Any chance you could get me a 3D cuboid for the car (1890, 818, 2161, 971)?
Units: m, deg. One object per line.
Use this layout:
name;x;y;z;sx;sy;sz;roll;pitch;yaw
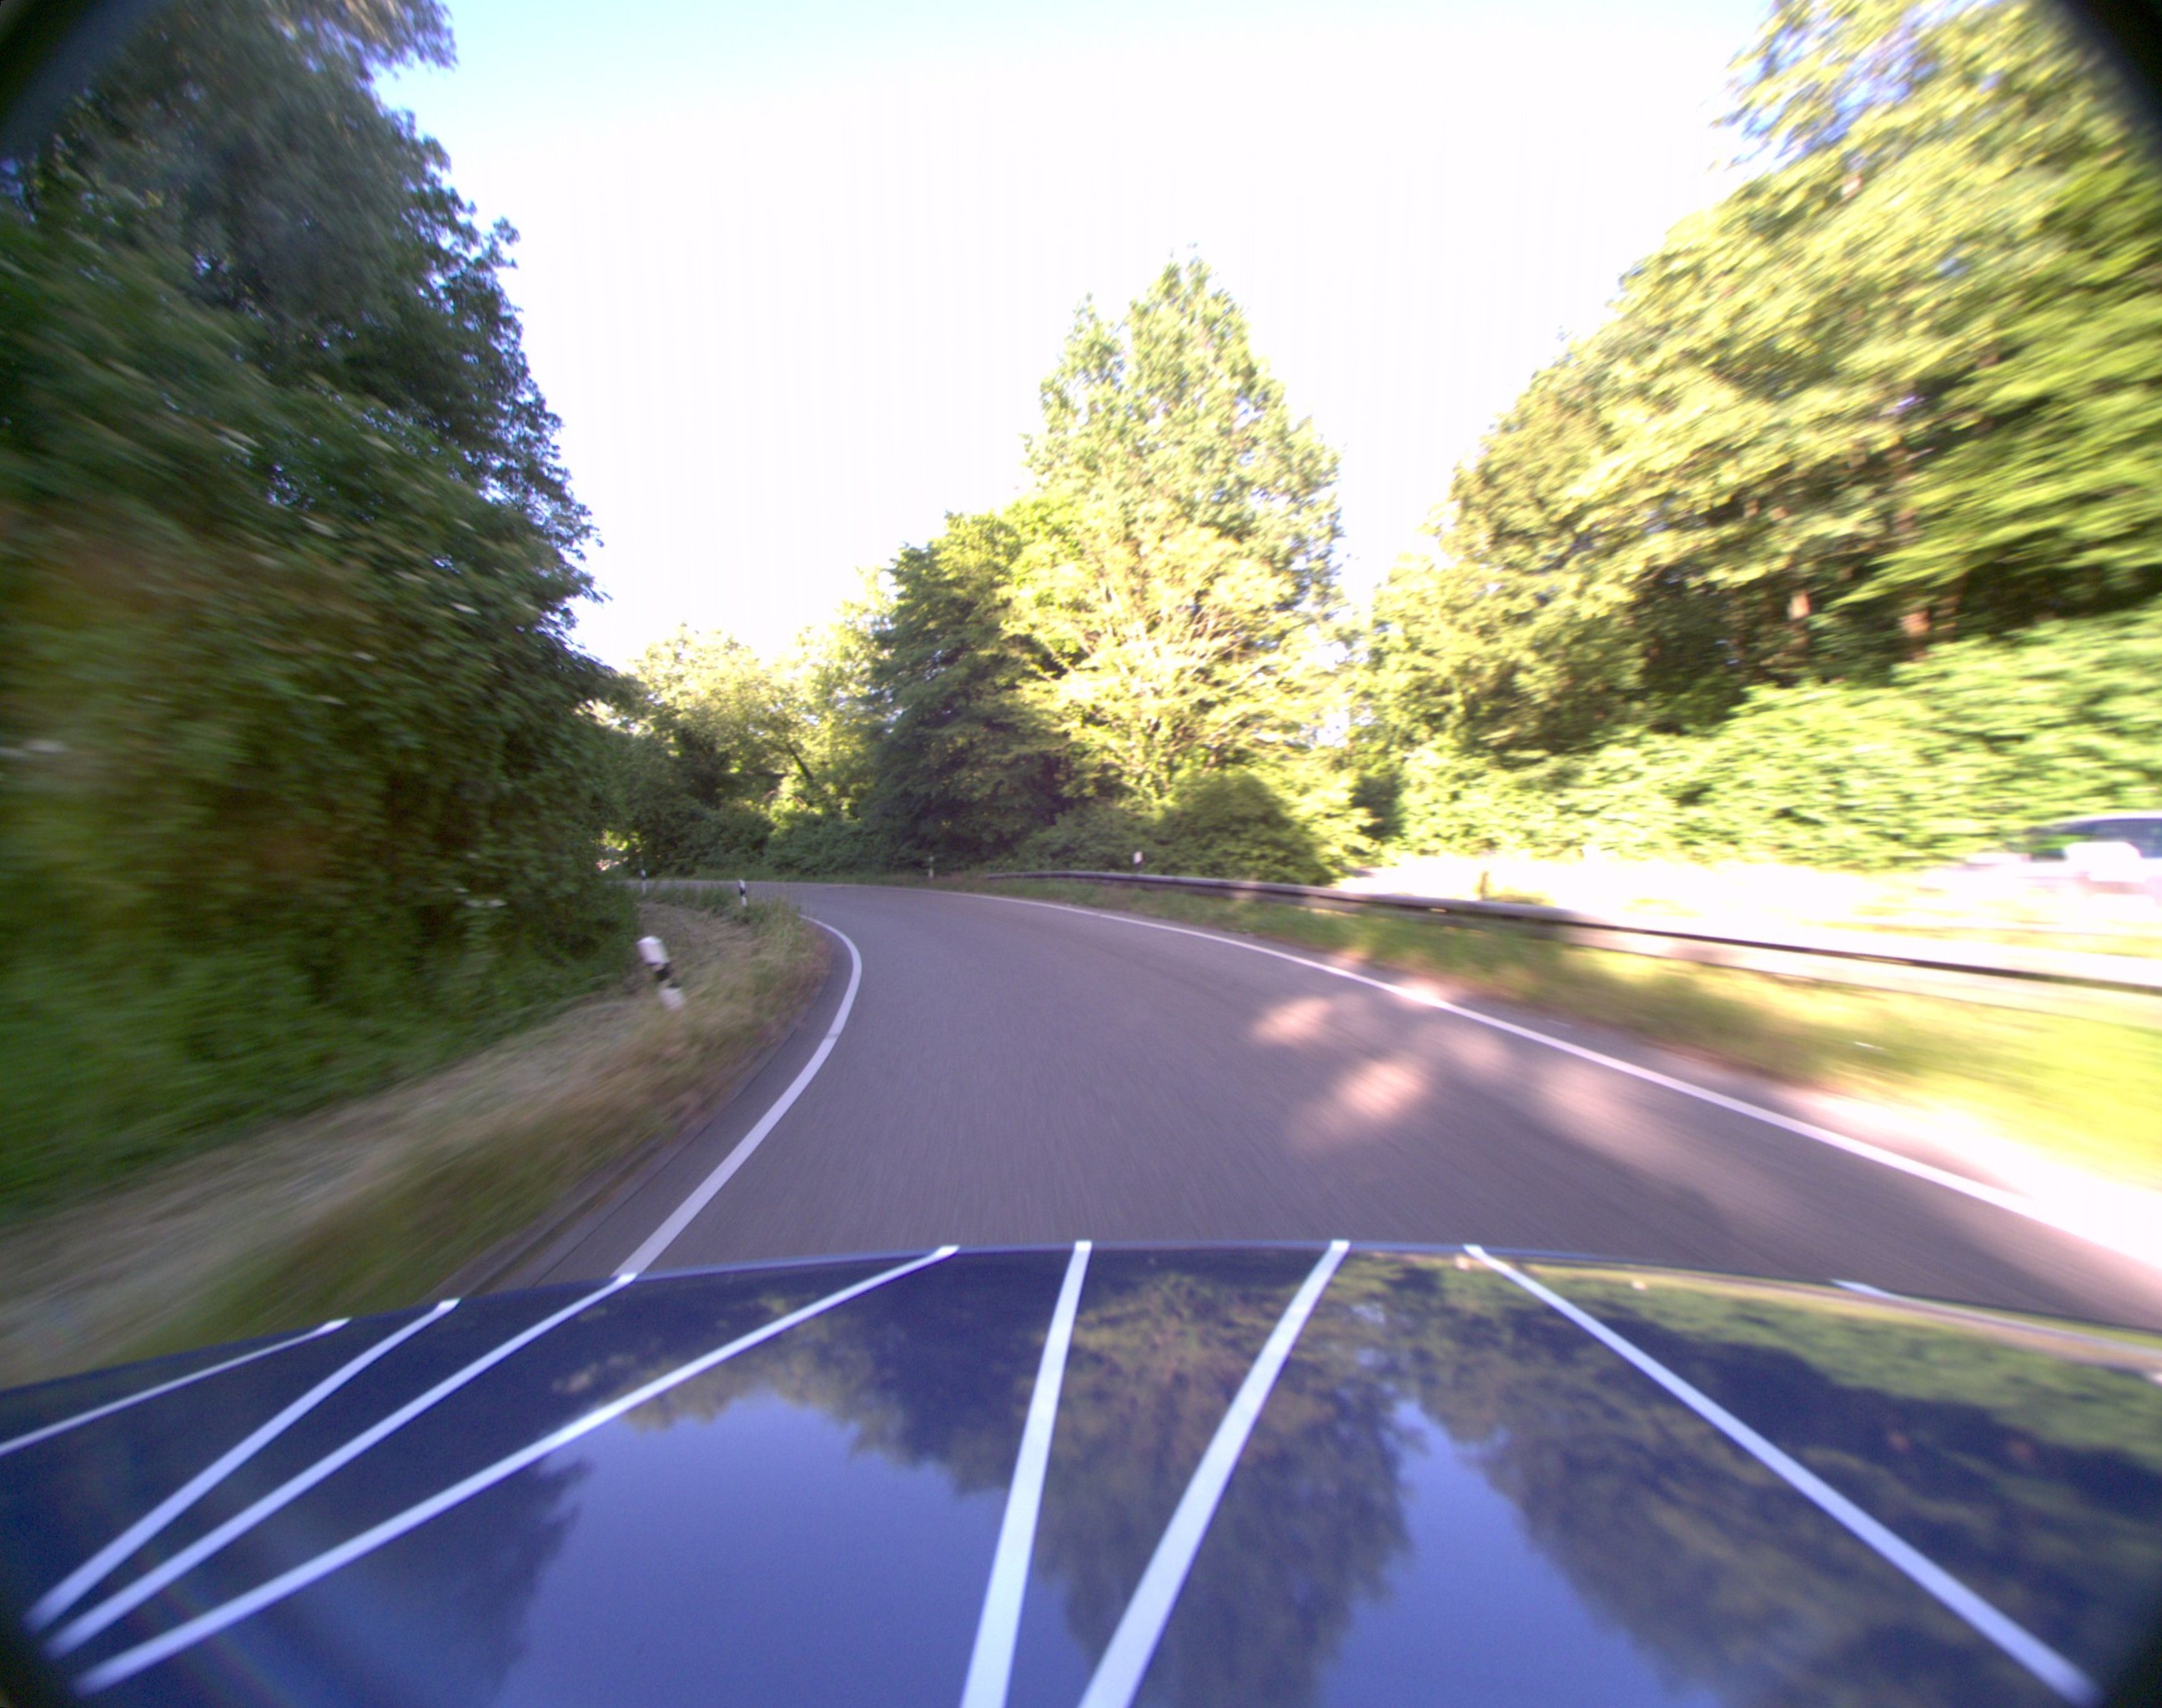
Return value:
car;11.469;0.367;8.046;1.725;1.479;4.001;-2;1;5
